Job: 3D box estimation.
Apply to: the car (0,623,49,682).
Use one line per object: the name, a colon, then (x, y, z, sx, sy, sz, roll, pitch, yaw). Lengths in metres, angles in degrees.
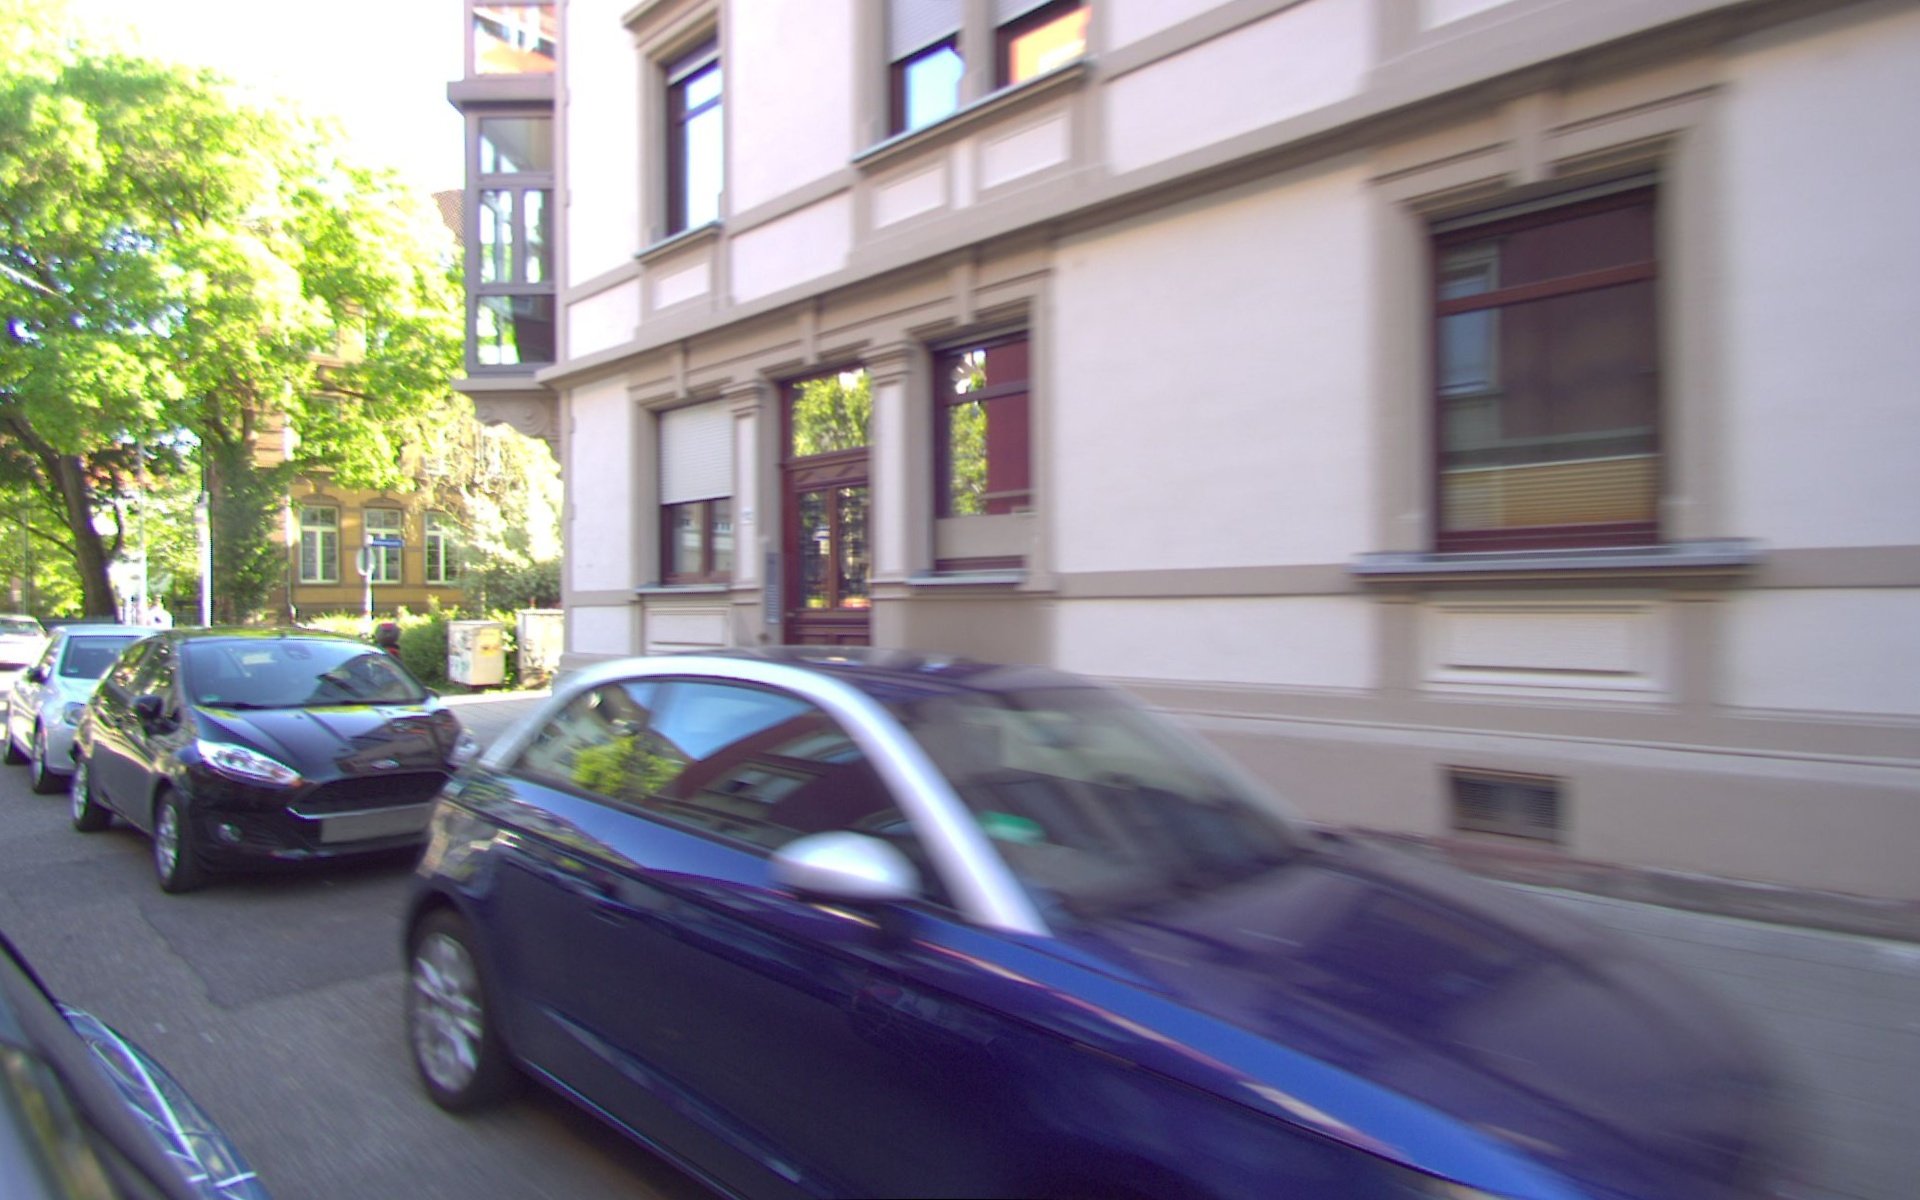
car: (-27.341, 1.433, 28.693, 3.950, 1.570, 1.688, -1, -5, 41)

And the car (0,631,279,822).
car: (-8.268, 1.054, 9.970, 3.932, 1.494, 1.761, -2, -2, 43)

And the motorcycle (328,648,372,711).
motorcycle: (-11.811, 1.504, 19.580, 0.630, 1.098, 1.875, 1, -1, -34)

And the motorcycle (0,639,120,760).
motorcycle: (-11.008, 1.167, 12.282, 1.995, 1.344, 0.670, -1, -5, 35)

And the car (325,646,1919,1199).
car: (0.034, 0.858, 2.618, 3.739, 1.414, 1.763, -1, -2, 40)

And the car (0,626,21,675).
car: (-31.511, 1.519, 32.144, 3.991, 1.475, 1.567, 0, -5, 35)

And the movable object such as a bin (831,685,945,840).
movable object such as a bin: (-0.501, 1.105, 7.078, 0.510, 0.963, 0.615, -1, -1, 41)

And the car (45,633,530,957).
car: (-4.553, 0.969, 6.648, 3.741, 1.494, 1.762, -1, -2, 42)

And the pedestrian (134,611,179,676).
pedestrian: (-22.382, 1.206, 28.186, 1.006, 1.759, 0.794, -1, -3, 41)

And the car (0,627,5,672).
car: (-34.947, 1.684, 35.347, 3.997, 1.545, 1.770, -2, -5, 40)

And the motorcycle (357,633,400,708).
motorcycle: (-10.278, 1.206, 17.913, 0.603, 1.205, 2.050, 1, -1, -29)
